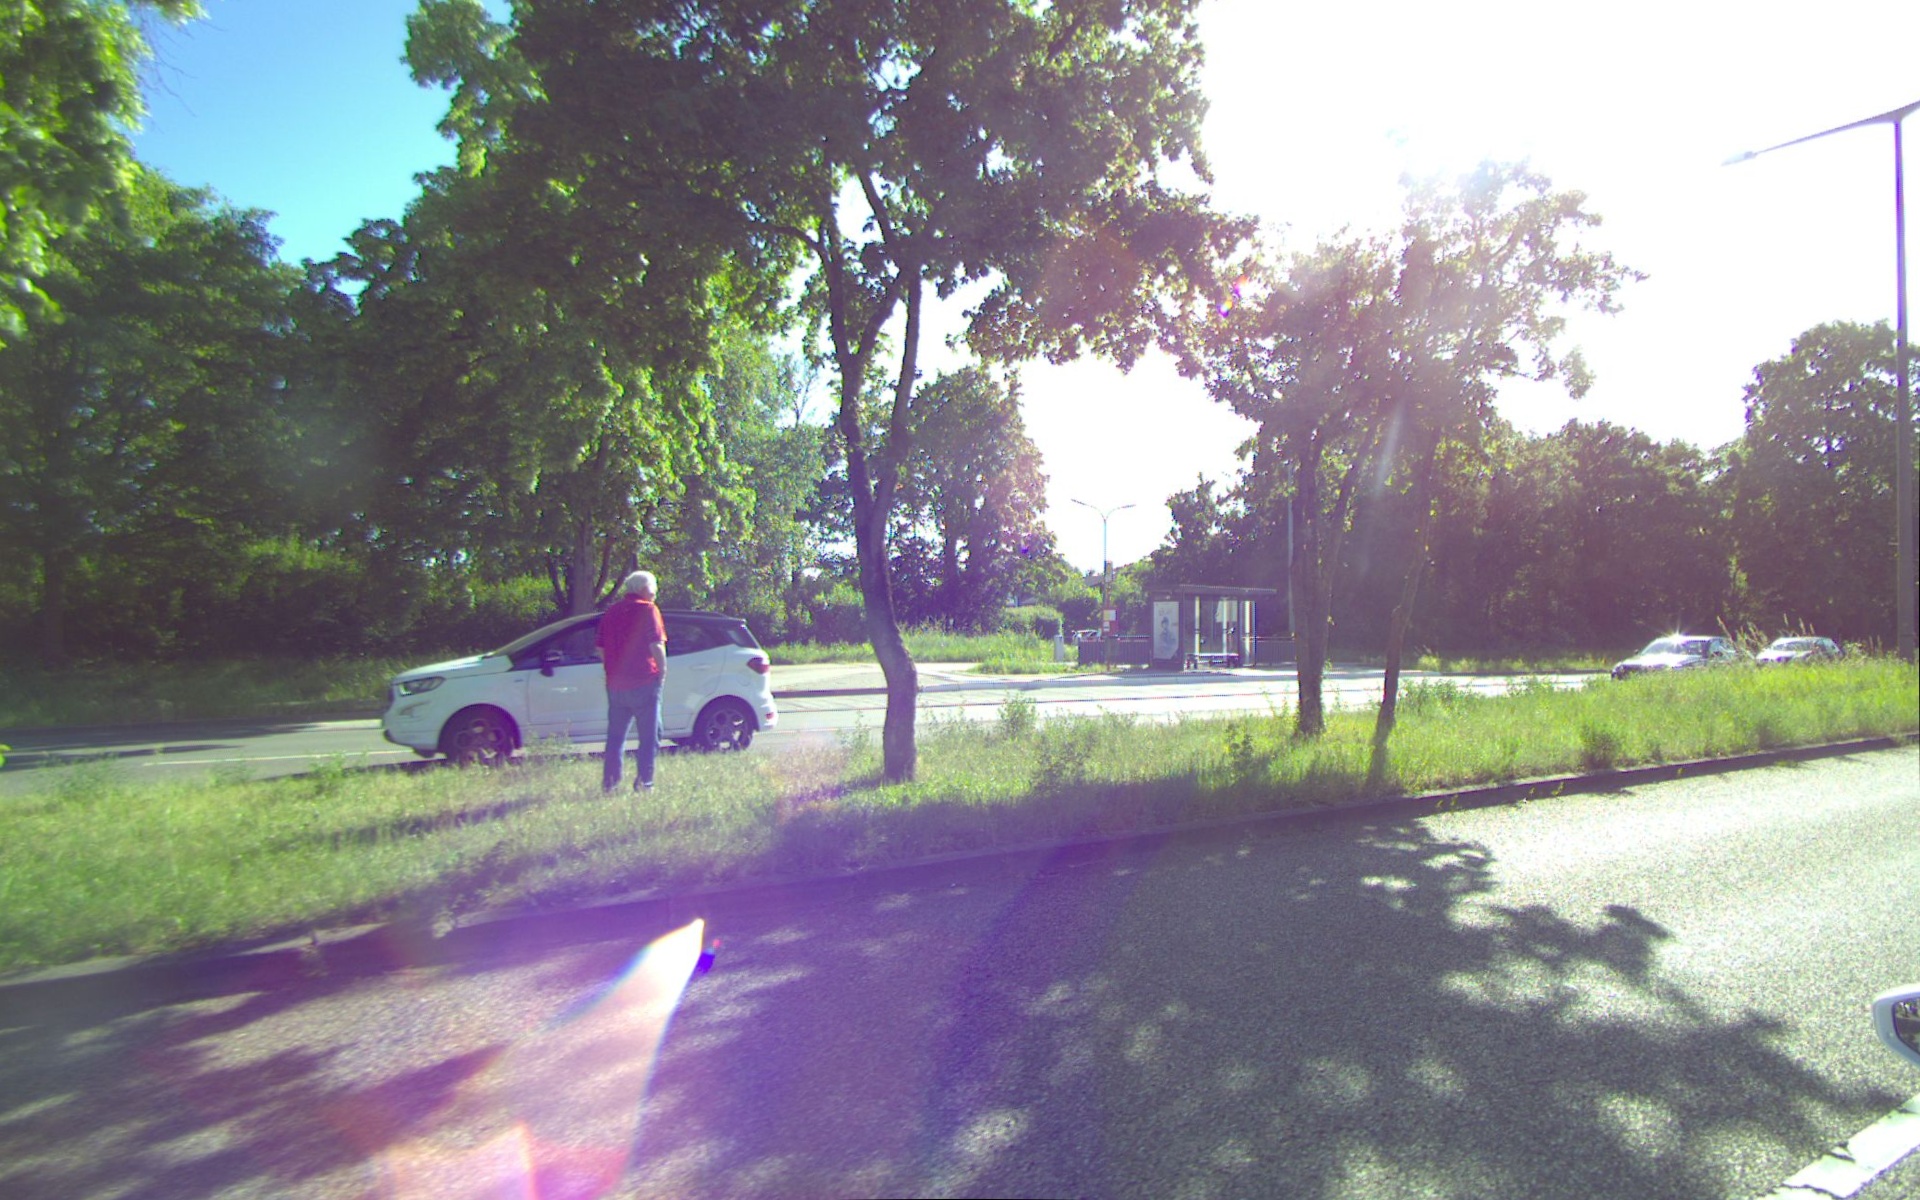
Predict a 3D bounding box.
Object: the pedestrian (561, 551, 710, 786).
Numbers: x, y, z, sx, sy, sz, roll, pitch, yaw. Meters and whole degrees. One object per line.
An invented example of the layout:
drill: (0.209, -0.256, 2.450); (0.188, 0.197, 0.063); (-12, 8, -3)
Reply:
pedestrian: (-2.461, 0.511, 7.698); (0.924, 1.719, 0.632); (0, -1, 0)

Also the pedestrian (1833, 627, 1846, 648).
pedestrian: (62.336, 2.633, 71.219); (0.589, 1.479, 0.542); (1, -1, -31)

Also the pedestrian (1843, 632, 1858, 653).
pedestrian: (62.696, 2.994, 70.721); (0.907, 1.479, 0.542); (1, -1, -31)

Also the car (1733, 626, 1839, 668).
car: (31.582, 1.773, 38.391); (4.545, 1.520, 1.796); (1, -1, -32)

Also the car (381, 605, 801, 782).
car: (-4.029, 0.935, 11.192); (4.150, 1.653, 1.721); (1, -2, -32)

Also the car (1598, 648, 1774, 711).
car: (17.842, 1.874, 24.627); (4.924, 1.379, 1.772); (1, -3, -32)
